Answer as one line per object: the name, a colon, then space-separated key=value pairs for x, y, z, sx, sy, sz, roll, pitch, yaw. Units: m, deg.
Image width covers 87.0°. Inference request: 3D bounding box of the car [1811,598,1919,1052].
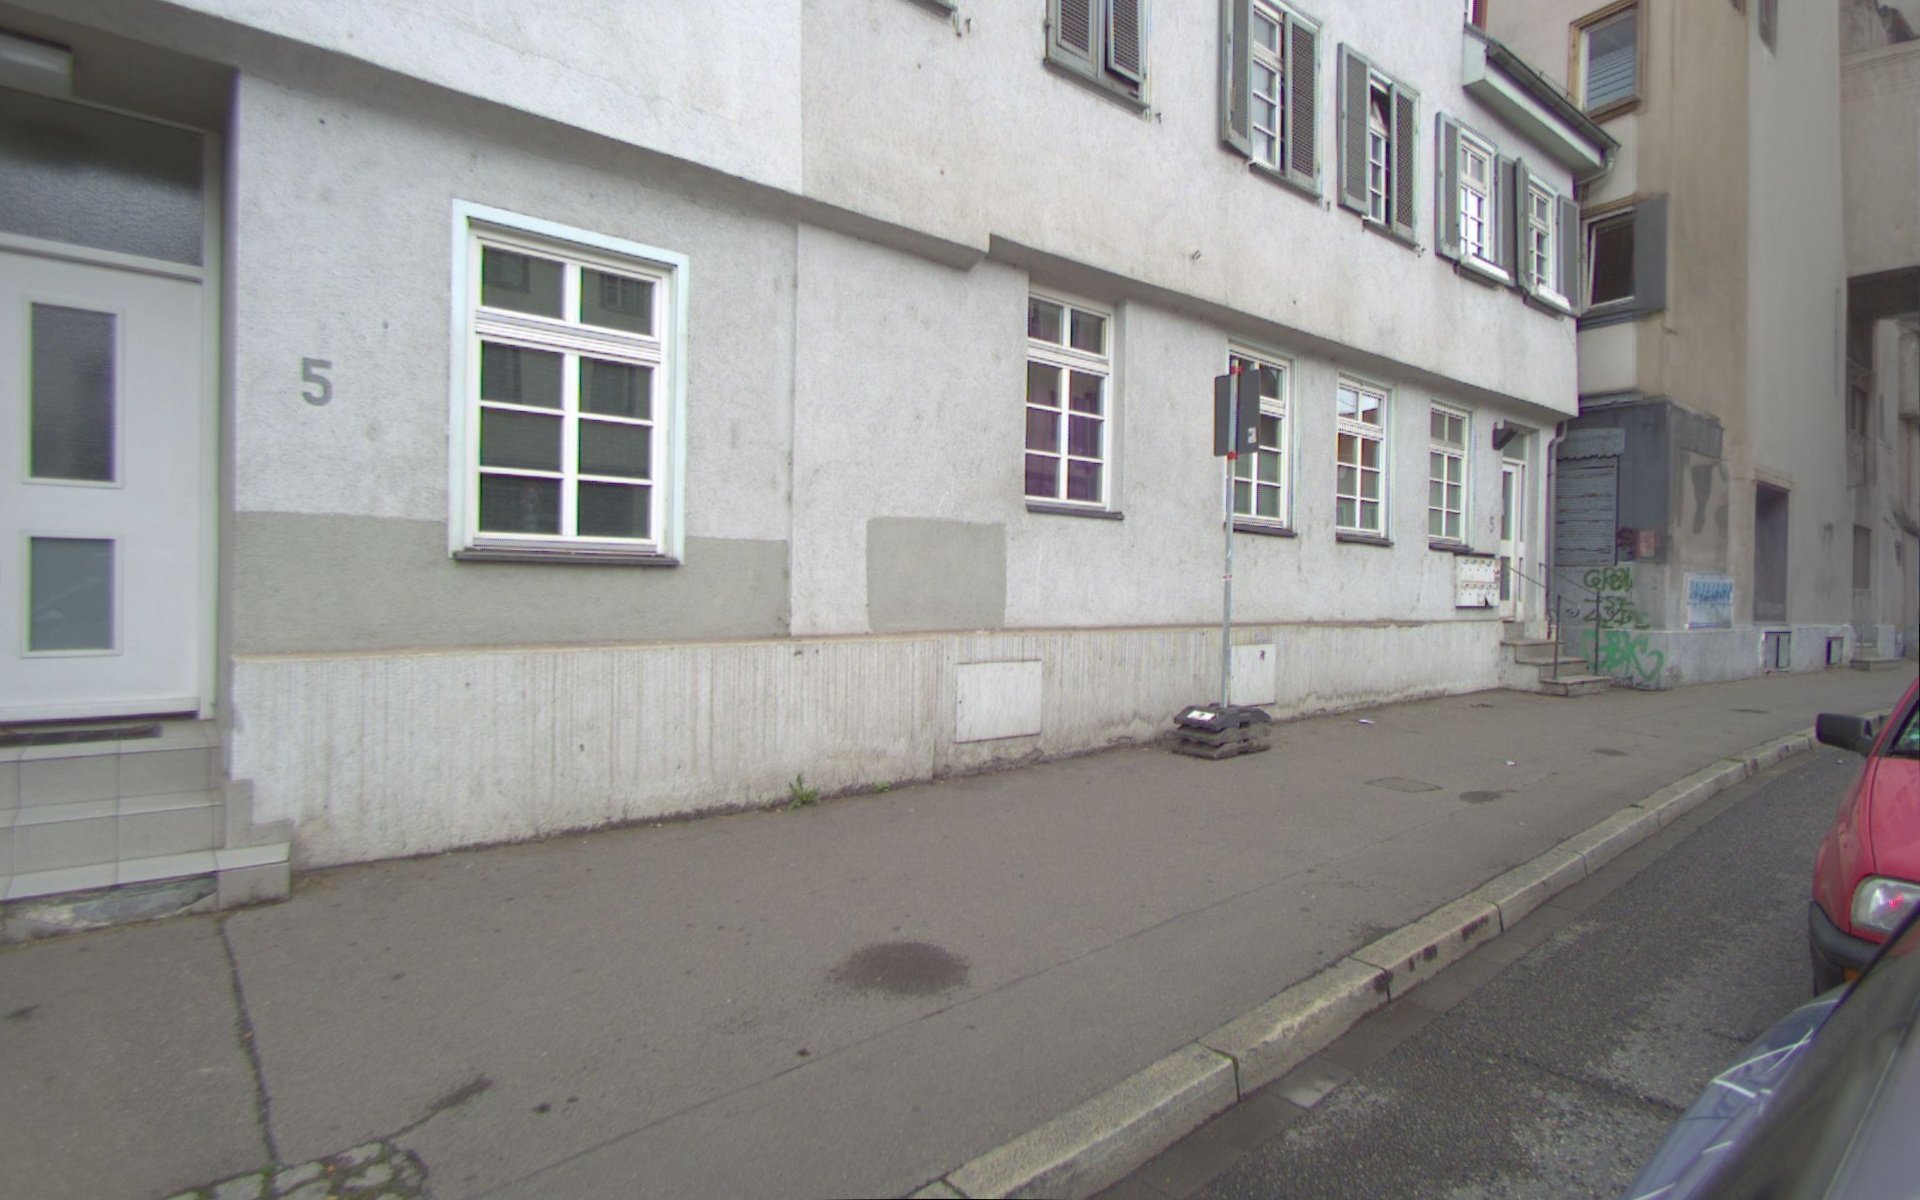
car: x=5.047 y=0.733 z=4.114 sx=3.930 sy=1.485 sz=1.802 roll=0 pitch=-2 yaw=-41
